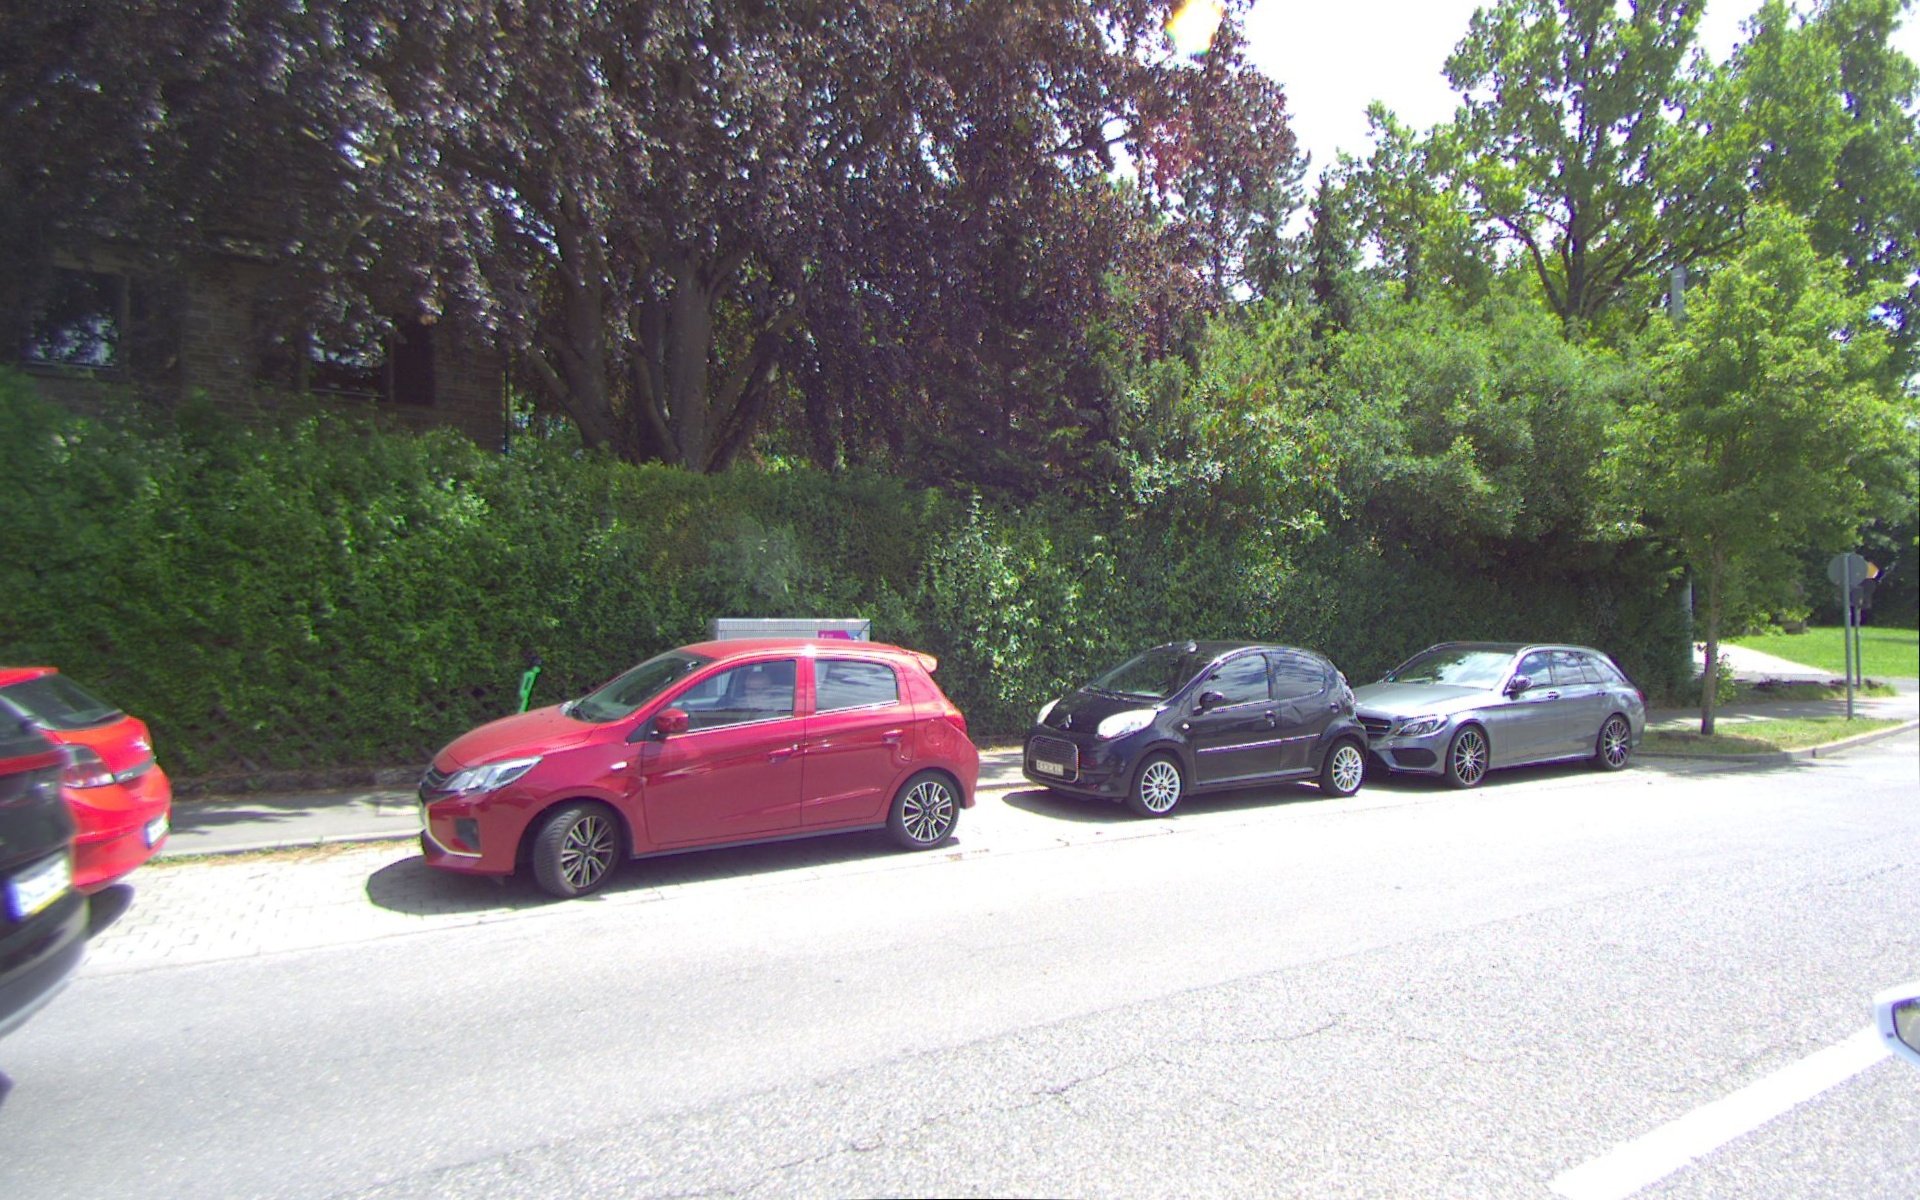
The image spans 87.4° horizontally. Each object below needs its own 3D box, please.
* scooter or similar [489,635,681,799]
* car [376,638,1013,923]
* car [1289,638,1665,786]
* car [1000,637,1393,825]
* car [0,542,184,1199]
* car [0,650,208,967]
[{"bbox_3d":[-3.564,1.061,9.570,1.629,1.431,0.667,1,-1,-29],"label":"scooter or similar"},{"bbox_3d":[-1.764,1.033,7.099,4.058,1.470,1.641,2,-1,-31],"label":"car"},{"bbox_3d":[6.080,1.167,11.646,4.632,1.383,1.686,2,-1,-31],"label":"car"},{"bbox_3d":[2.312,1.123,9.668,3.552,1.470,1.588,1,-1,-29],"label":"car"},{"bbox_3d":[-4.350,0.699,2.038,4.102,1.637,1.826,1,-4,-29],"label":"car"},{"bbox_3d":[-6.293,0.953,4.458,4.512,1.396,1.653,2,-1,-30],"label":"car"}]
